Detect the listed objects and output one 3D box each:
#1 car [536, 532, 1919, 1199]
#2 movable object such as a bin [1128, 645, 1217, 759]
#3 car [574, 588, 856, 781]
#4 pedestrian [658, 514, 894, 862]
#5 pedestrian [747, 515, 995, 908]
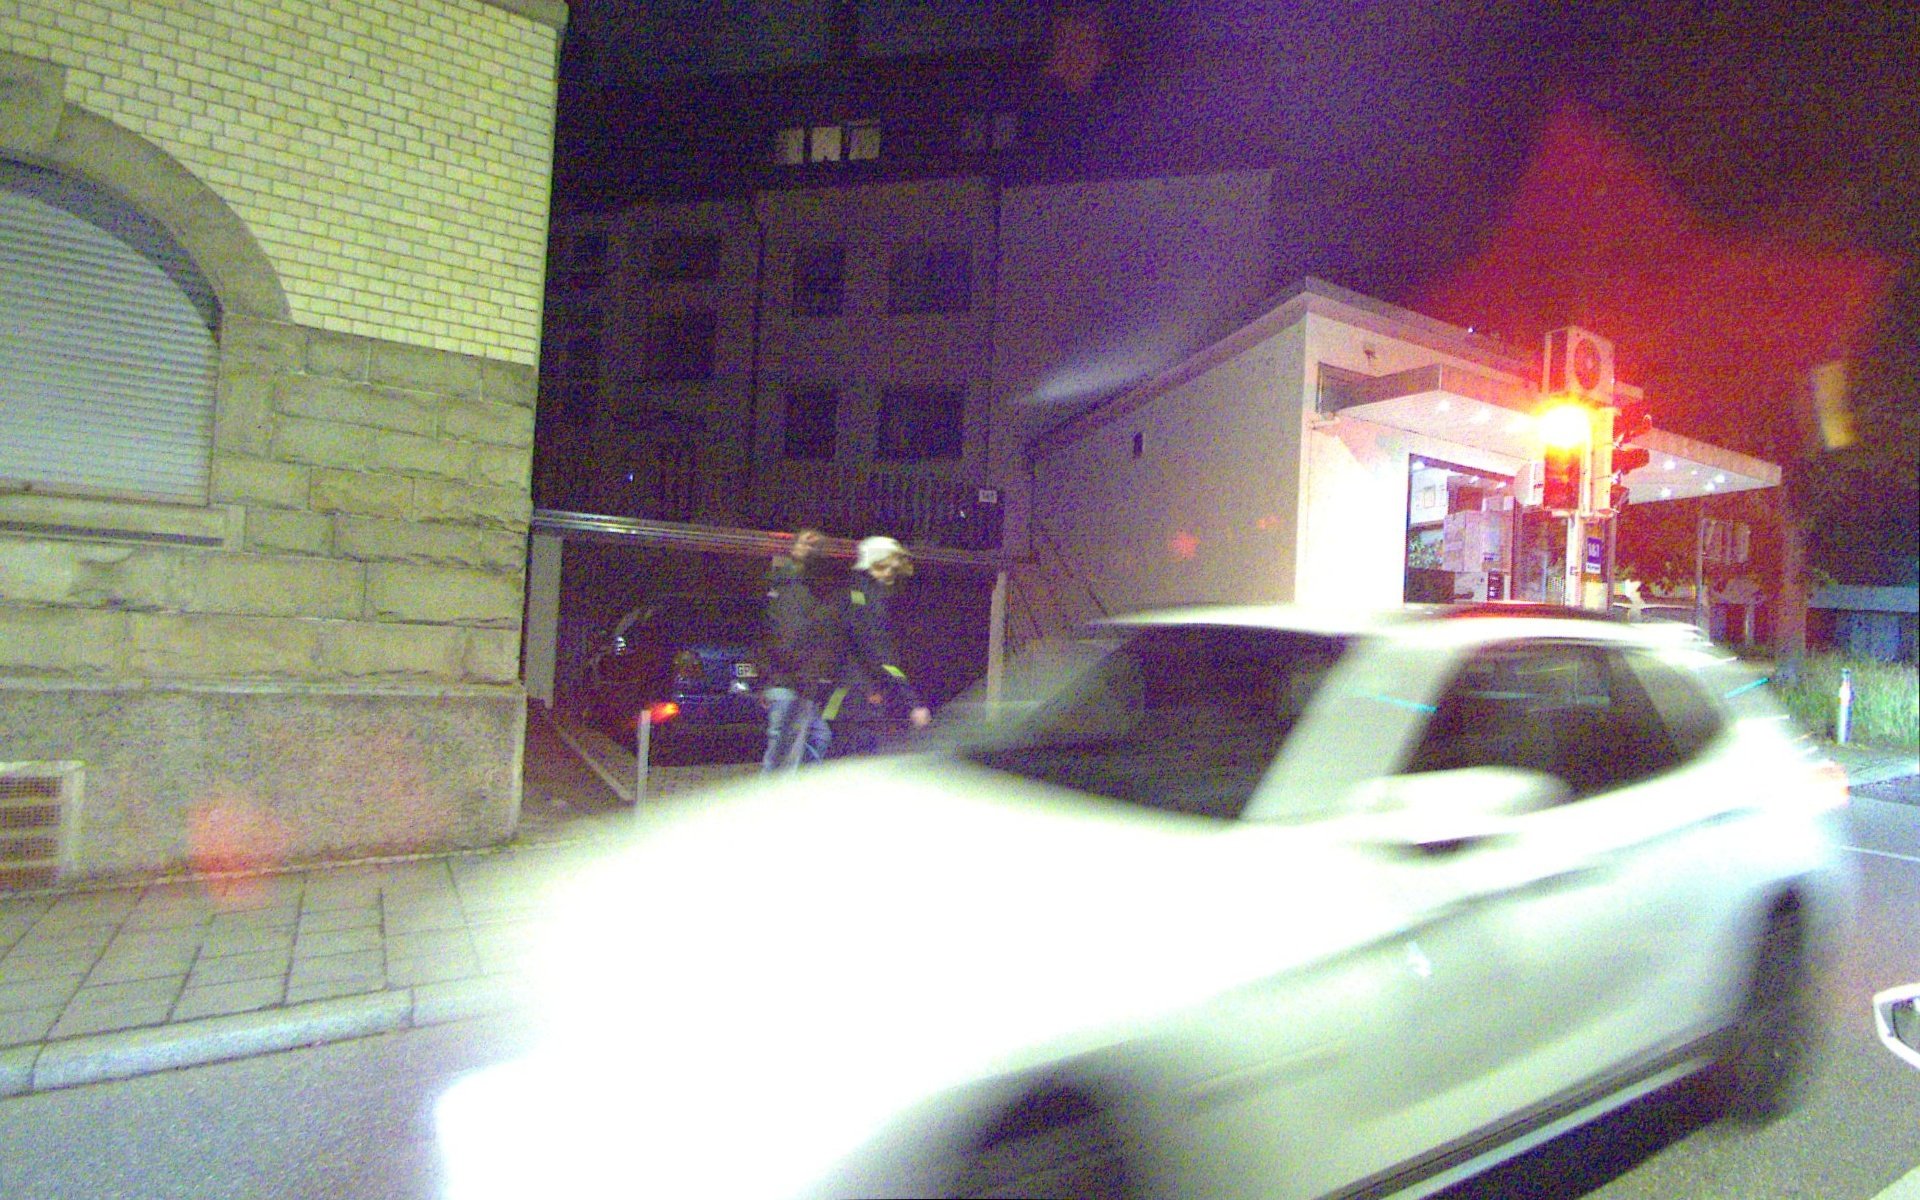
[{"bbox_3d":[0.974,0.727,3.058,3.980,1.554,1.848,1,0,-30],"label":"car"},{"bbox_3d":[2.112,1.002,10.027,0.643,1.063,0.639,2,0,-12],"label":"movable object such as a bin"},{"bbox_3d":[-2.457,0.655,9.498,1.655,1.470,3.341,2,-1,-31],"label":"car"},{"bbox_3d":[-1.047,0.462,5.703,1.091,1.768,0.738,2,0,-31],"label":"pedestrian"},{"bbox_3d":[-0.453,0.513,5.077,1.017,1.768,0.672,2,0,-31],"label":"pedestrian"}]
